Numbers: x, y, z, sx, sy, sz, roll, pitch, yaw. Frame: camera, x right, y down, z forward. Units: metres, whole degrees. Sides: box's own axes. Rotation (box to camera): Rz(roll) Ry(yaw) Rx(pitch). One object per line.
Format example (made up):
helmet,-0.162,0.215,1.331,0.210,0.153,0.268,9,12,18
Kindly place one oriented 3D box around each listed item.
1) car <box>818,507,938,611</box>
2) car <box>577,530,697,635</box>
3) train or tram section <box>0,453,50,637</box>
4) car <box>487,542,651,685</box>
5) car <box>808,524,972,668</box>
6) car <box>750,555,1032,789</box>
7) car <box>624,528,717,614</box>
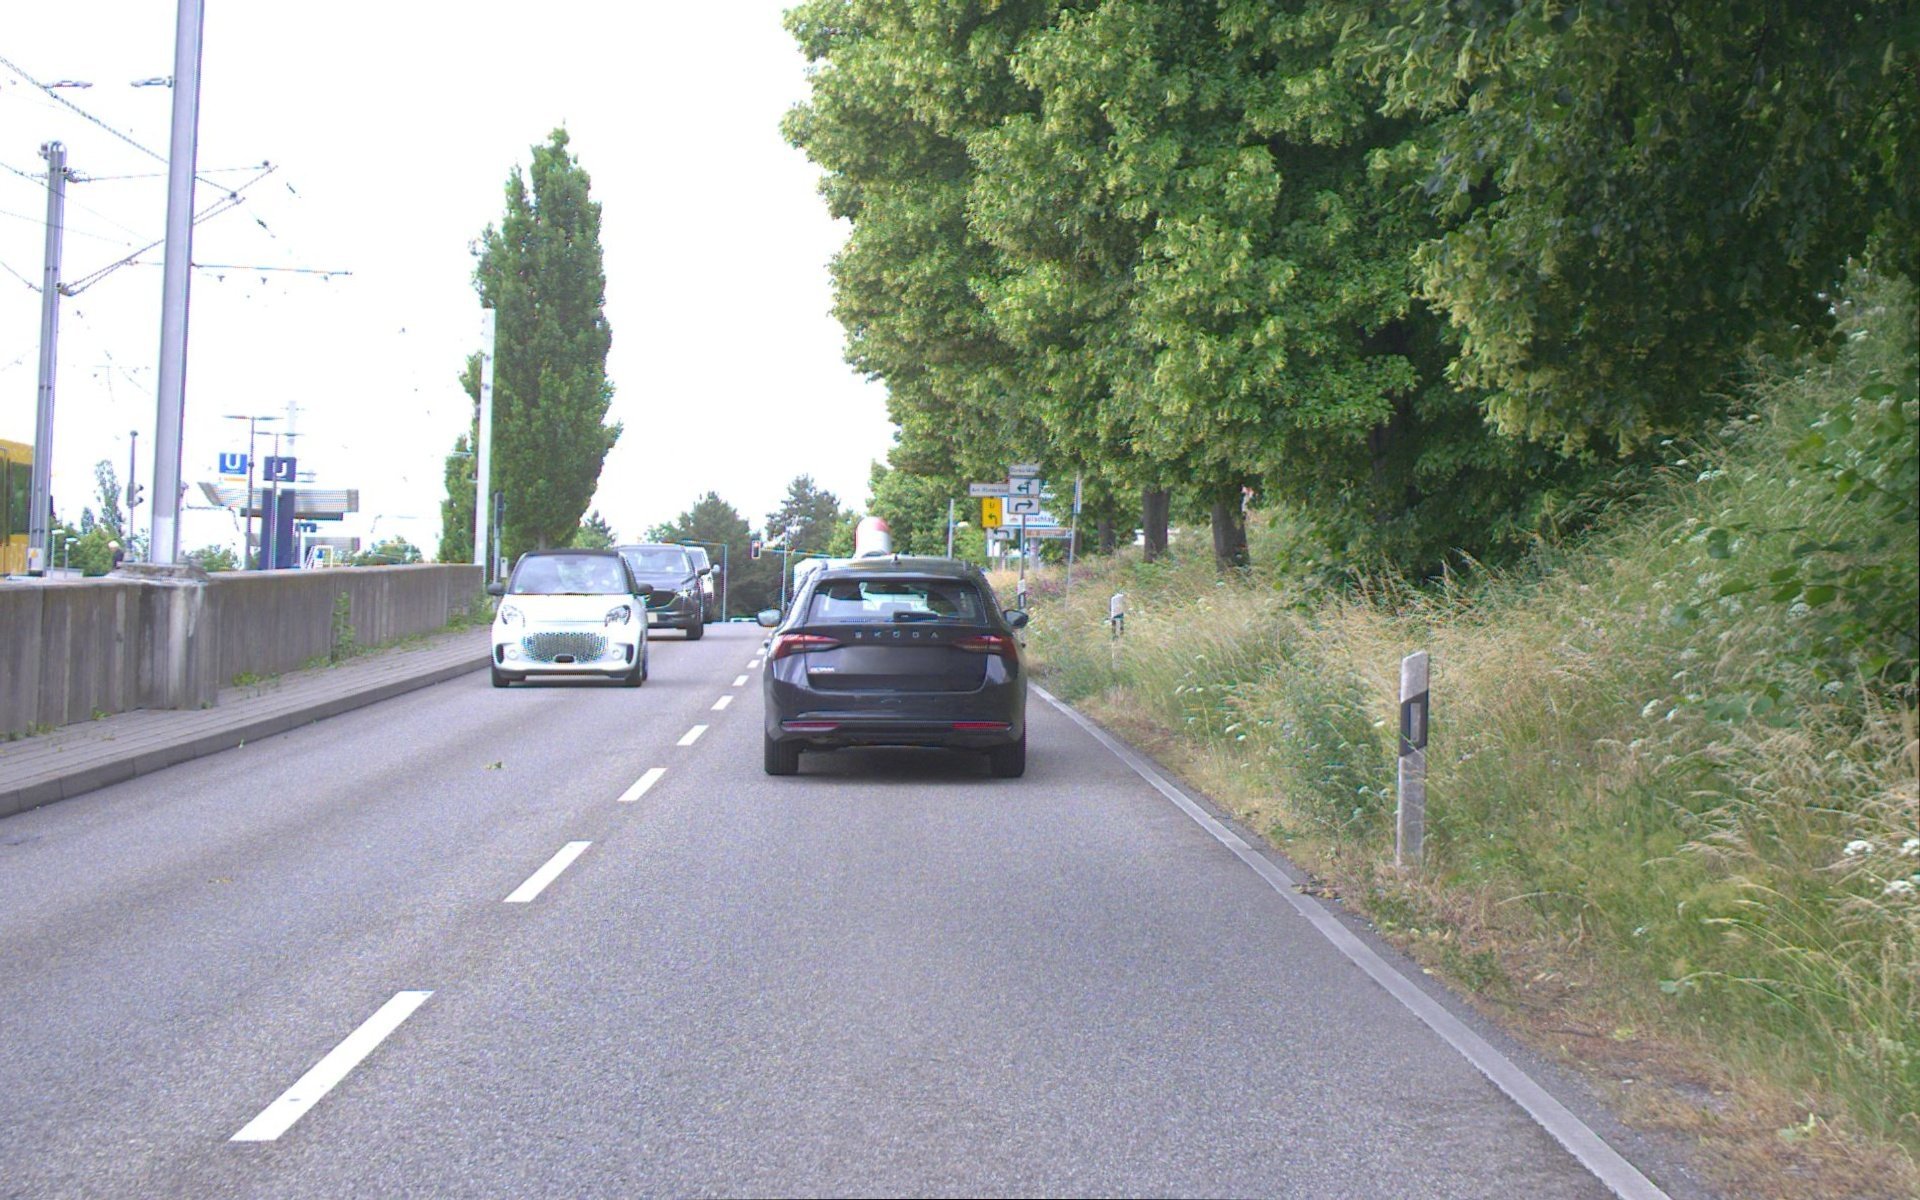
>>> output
car,-1.402,-0.693,59.704,1.993,1.734,4.000,0,0,-1
car,-5.639,-0.323,60.417,1.910,1.762,4.307,0,1,-3
train or tram section,-16.659,-0.896,52.977,2.795,3.012,18.885,0,0,-8
car,-4.492,0.112,39.926,1.731,1.566,4.001,0,1,-4
car,-0.893,-0.081,44.088,1.993,1.747,4.000,1,1,-1
car,-0.469,0.435,23.958,1.781,1.463,4.000,1,1,-1
car,-6.892,-0.704,82.288,1.993,2.007,4.313,0,1,-2
